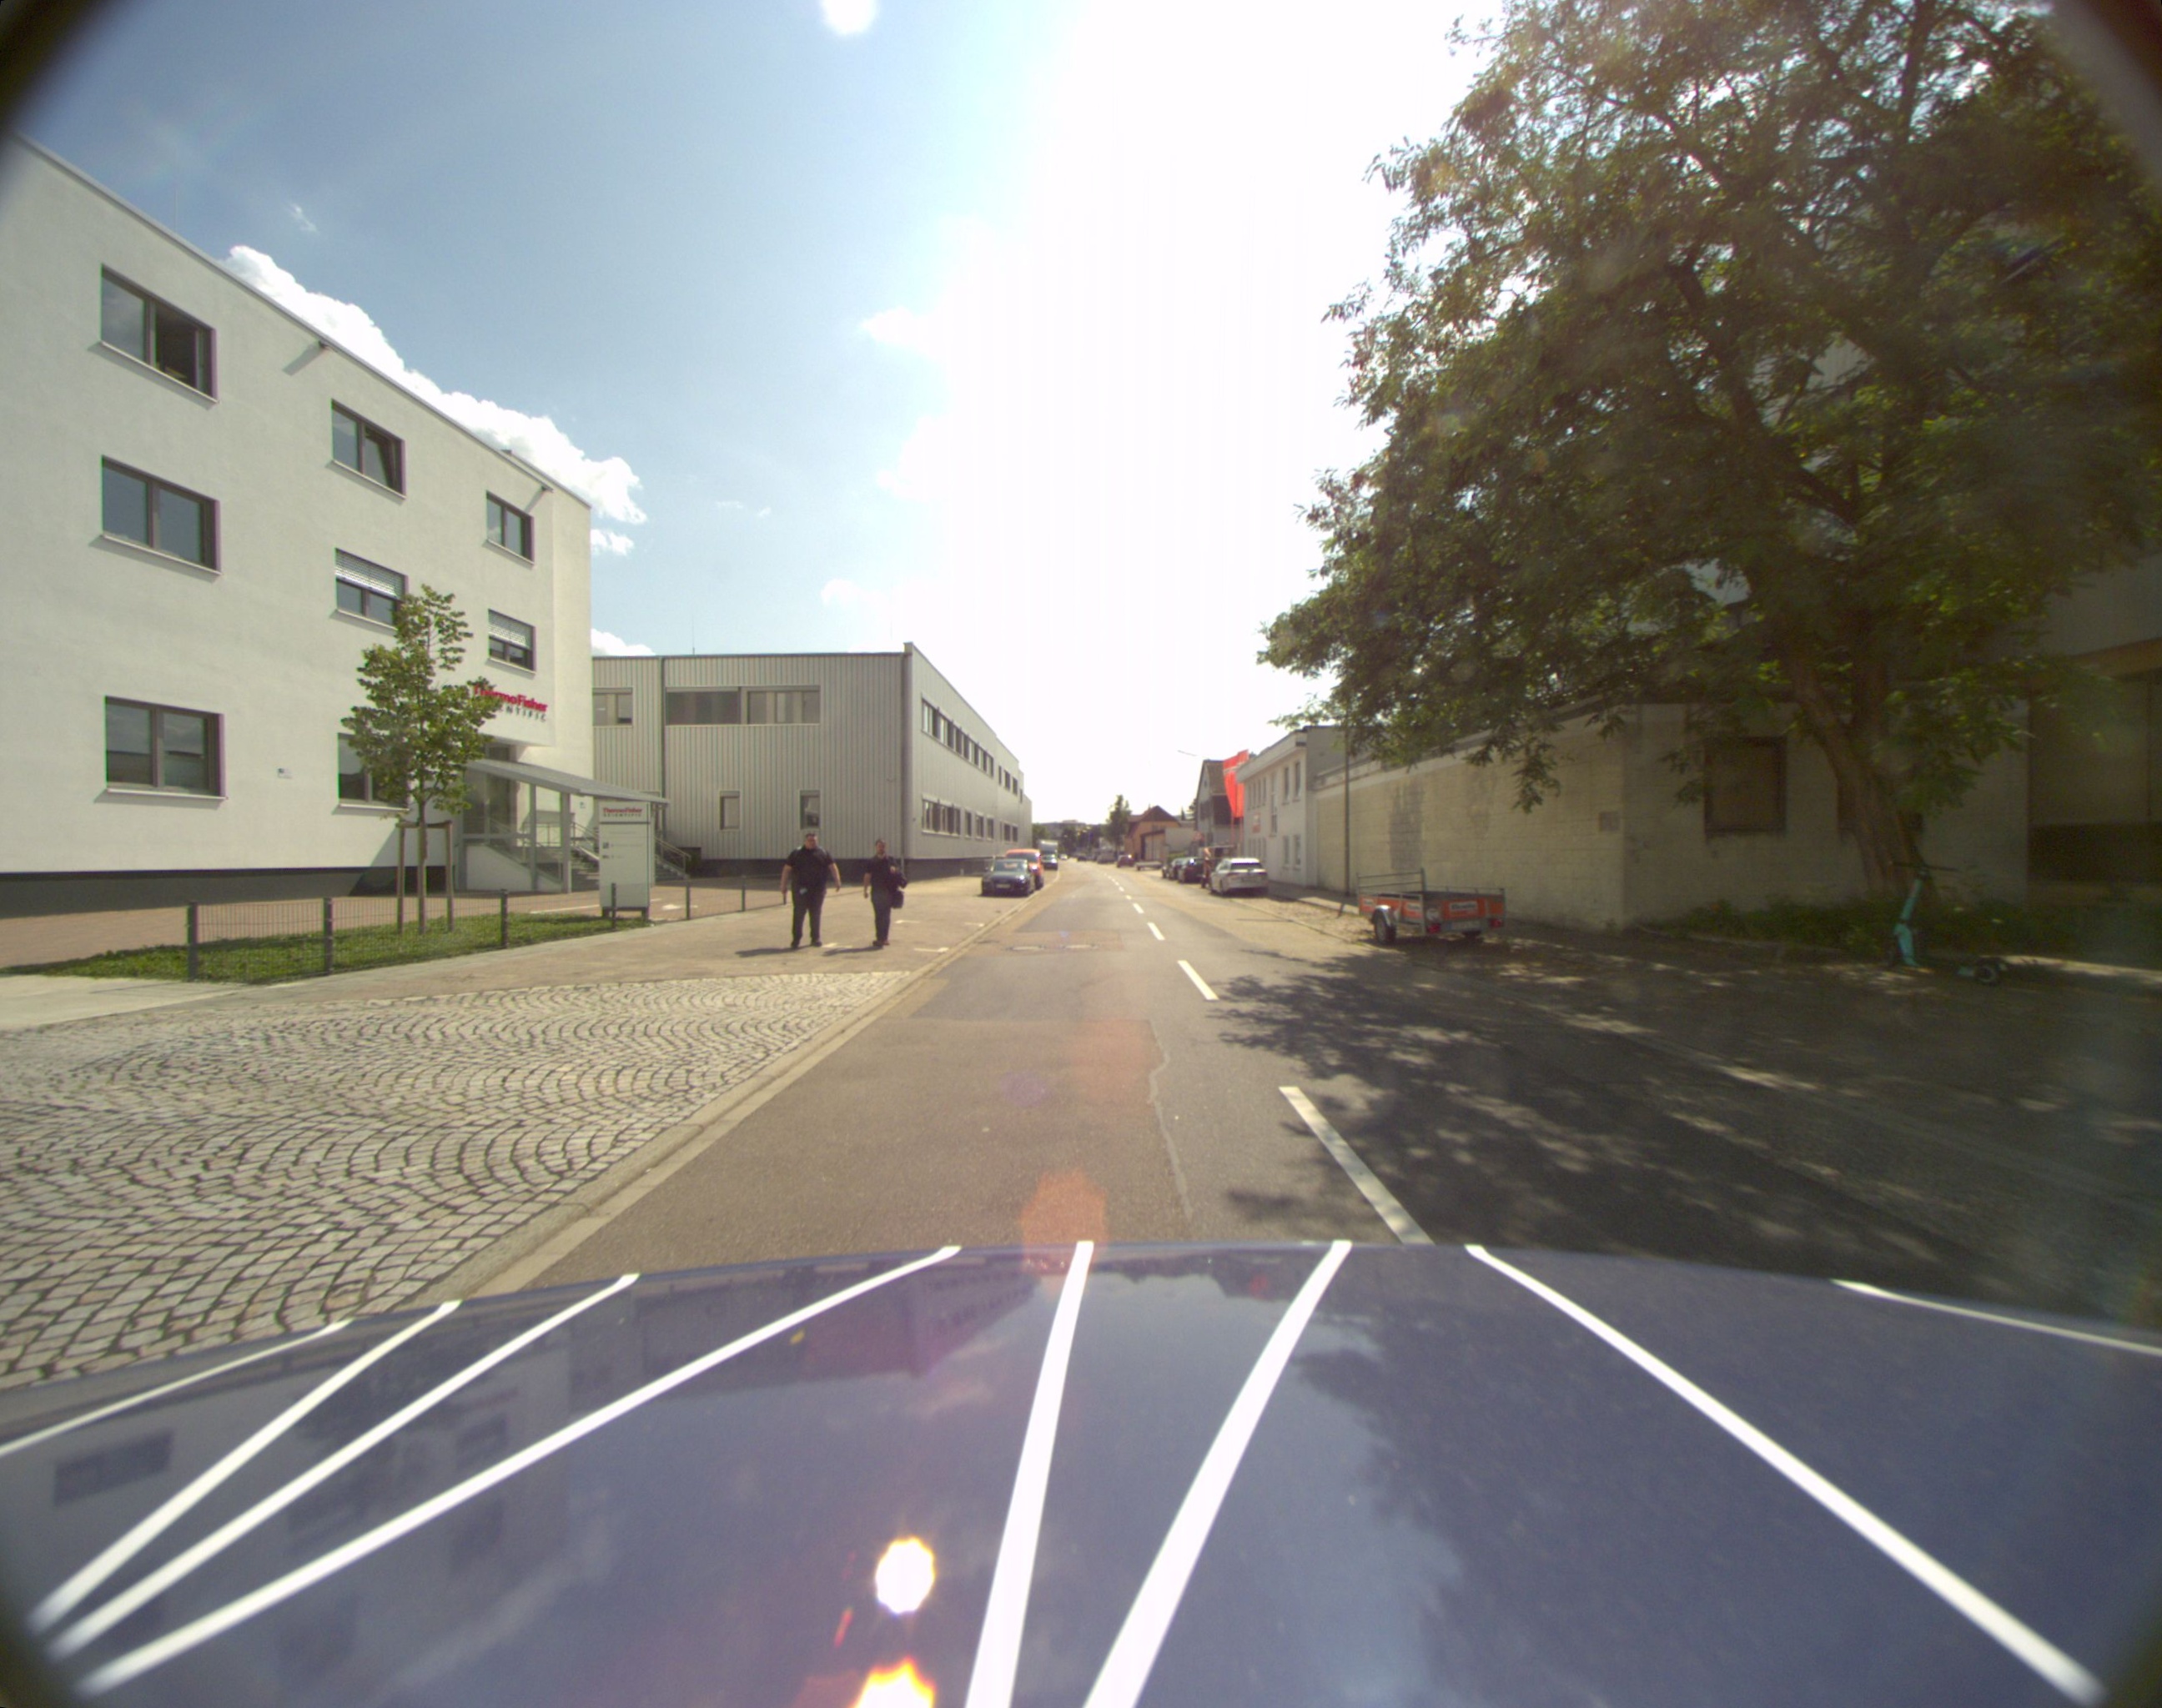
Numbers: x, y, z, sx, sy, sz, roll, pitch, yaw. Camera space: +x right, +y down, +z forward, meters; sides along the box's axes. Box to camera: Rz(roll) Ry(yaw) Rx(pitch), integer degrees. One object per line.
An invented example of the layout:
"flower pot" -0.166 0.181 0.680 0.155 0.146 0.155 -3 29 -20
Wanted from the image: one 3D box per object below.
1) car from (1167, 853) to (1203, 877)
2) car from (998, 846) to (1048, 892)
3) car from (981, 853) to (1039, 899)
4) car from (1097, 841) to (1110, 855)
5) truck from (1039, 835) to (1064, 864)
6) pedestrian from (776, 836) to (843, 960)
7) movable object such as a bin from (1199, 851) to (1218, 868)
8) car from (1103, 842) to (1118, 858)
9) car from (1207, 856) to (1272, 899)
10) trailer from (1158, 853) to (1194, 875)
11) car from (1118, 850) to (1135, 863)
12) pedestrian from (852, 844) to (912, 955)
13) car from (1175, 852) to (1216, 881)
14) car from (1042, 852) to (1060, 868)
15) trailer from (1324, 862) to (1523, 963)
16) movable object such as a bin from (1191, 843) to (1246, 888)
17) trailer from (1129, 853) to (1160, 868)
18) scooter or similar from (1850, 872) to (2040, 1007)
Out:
"car" 6.528 0.669 48.037 1.677 1.368 3.883 -2 1 -1
"car" -2.613 0.631 35.330 1.877 1.881 4.451 -4 1 -1
"car" -2.699 0.806 29.613 1.663 1.549 4.178 -3 1 2
"car" 4.390 -1.183 149.342 1.999 2.556 5.823 -3 1 -1
"truck" -3.615 -0.556 91.503 2.608 3.207 8.074 -3 1 -4
"pedestrian" -4.495 0.684 12.546 0.994 1.940 1.089 0 1 -22
"movable object such as a bin" 10.821 0.430 64.412 1.319 1.419 1.188 0 1 -4
"car" 4.762 -0.667 123.081 2.079 2.527 5.823 -3 1 -1
"car" 6.169 0.869 30.119 1.677 1.447 4.513 -2 1 1
"trailer" 6.589 0.633 53.201 1.772 1.368 5.050 -2 1 -1
"car" 5.464 0.245 91.343 1.714 1.459 4.629 -3 1 0
"pedestrian" -3.378 0.728 12.861 0.860 1.797 1.003 0 1 -22
"car" 6.402 0.658 42.850 1.677 1.447 4.223 -2 1 0
"car" -2.995 0.566 76.855 1.715 1.502 4.114 -3 1 -1
"trailer" 6.084 0.944 14.131 1.771 1.431 4.335 -3 1 1
"movable object such as a bin" 6.438 0.505 36.079 1.618 1.908 5.138 -4 0 0
"trailer" 5.955 0.596 71.832 2.457 1.157 6.052 -2 1 0
"scooter or similar" 9.199 0.858 8.160 0.483 1.272 1.360 -3 1 1
